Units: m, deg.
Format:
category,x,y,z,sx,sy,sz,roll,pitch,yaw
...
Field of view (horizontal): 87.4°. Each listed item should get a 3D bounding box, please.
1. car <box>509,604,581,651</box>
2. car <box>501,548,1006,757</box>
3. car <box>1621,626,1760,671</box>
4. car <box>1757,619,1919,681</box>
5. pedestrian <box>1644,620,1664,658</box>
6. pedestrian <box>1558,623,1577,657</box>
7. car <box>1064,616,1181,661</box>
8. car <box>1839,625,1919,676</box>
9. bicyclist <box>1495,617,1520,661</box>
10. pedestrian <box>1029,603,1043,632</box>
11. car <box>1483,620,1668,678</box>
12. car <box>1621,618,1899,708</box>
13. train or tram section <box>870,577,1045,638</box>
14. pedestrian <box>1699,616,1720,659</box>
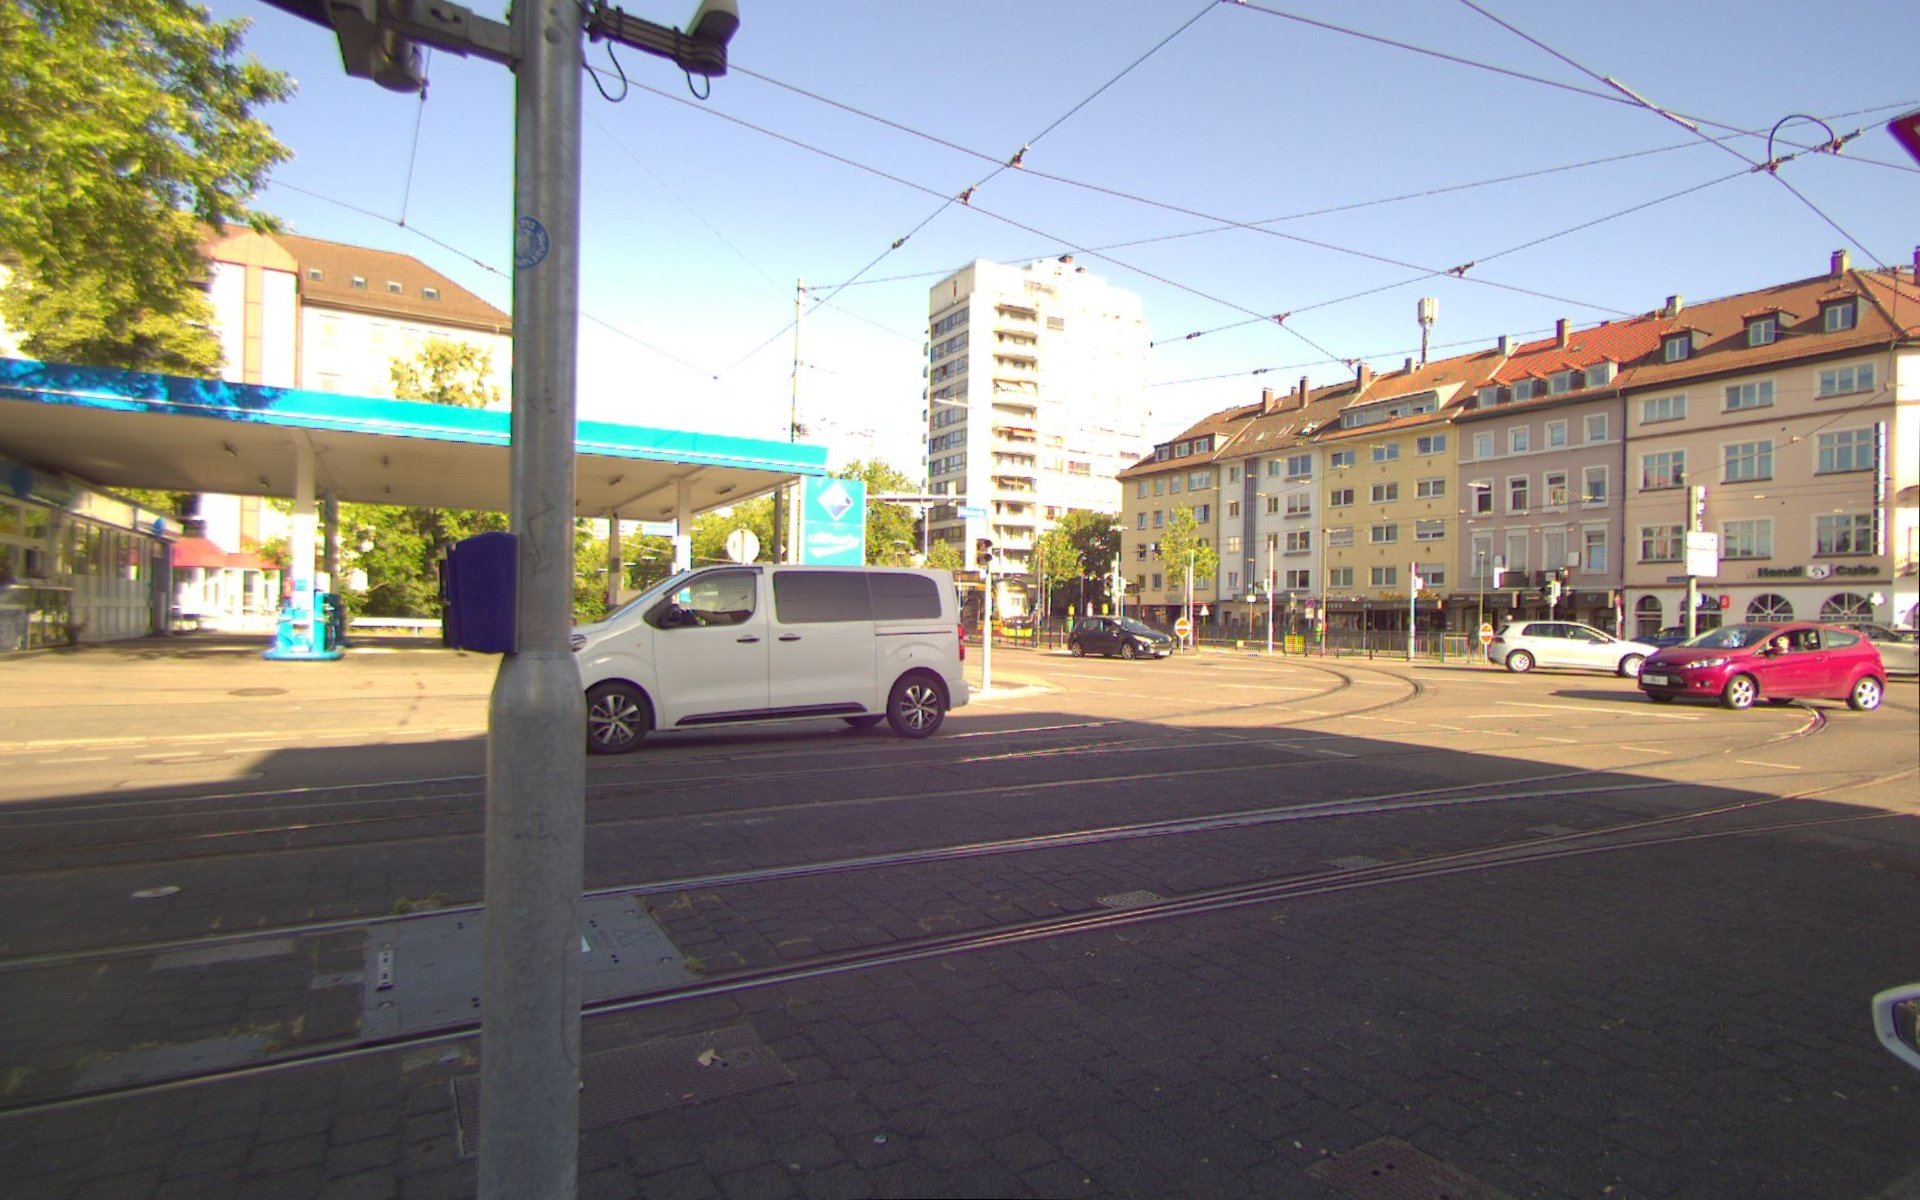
category,x,y,z,sx,sy,sz,roll,pitch,yaw
car,-13.521,0.863,32.643,1.659,1.372,3.559,2,0,-31
car,-2.198,0.553,11.137,5.151,1.878,1.986,1,-3,-28
car,28.512,1.851,39.358,1.802,1.596,4.183,1,0,-18
car,25.037,1.370,27.877,4.366,1.623,1.874,1,-1,0
pedestrian,31.161,1.762,45.100,0.492,1.670,0.520,2,0,-30
pedestrian,30.224,1.999,49.987,0.609,1.670,0.581,2,0,-30
car,5.745,1.329,35.973,1.976,1.537,4.177,1,-1,-29
car,29.964,1.595,32.800,1.763,1.524,3.902,0,-1,39
bicyclist,22.999,1.639,42.205,0.606,1.814,0.619,2,0,-25
pedestrian,5.673,1.298,74.821,0.729,2.127,0.880,2,0,-21
car,16.598,1.287,27.347,4.150,1.408,1.732,0,-1,27
car,13.774,1.057,17.374,3.811,1.445,1.593,1,0,-9
train or tram section,-0.695,0.336,60.490,2.821,3.179,16.611,2,0,-29
pedestrian,32.514,1.622,43.591,0.670,1.847,0.523,2,0,-37
